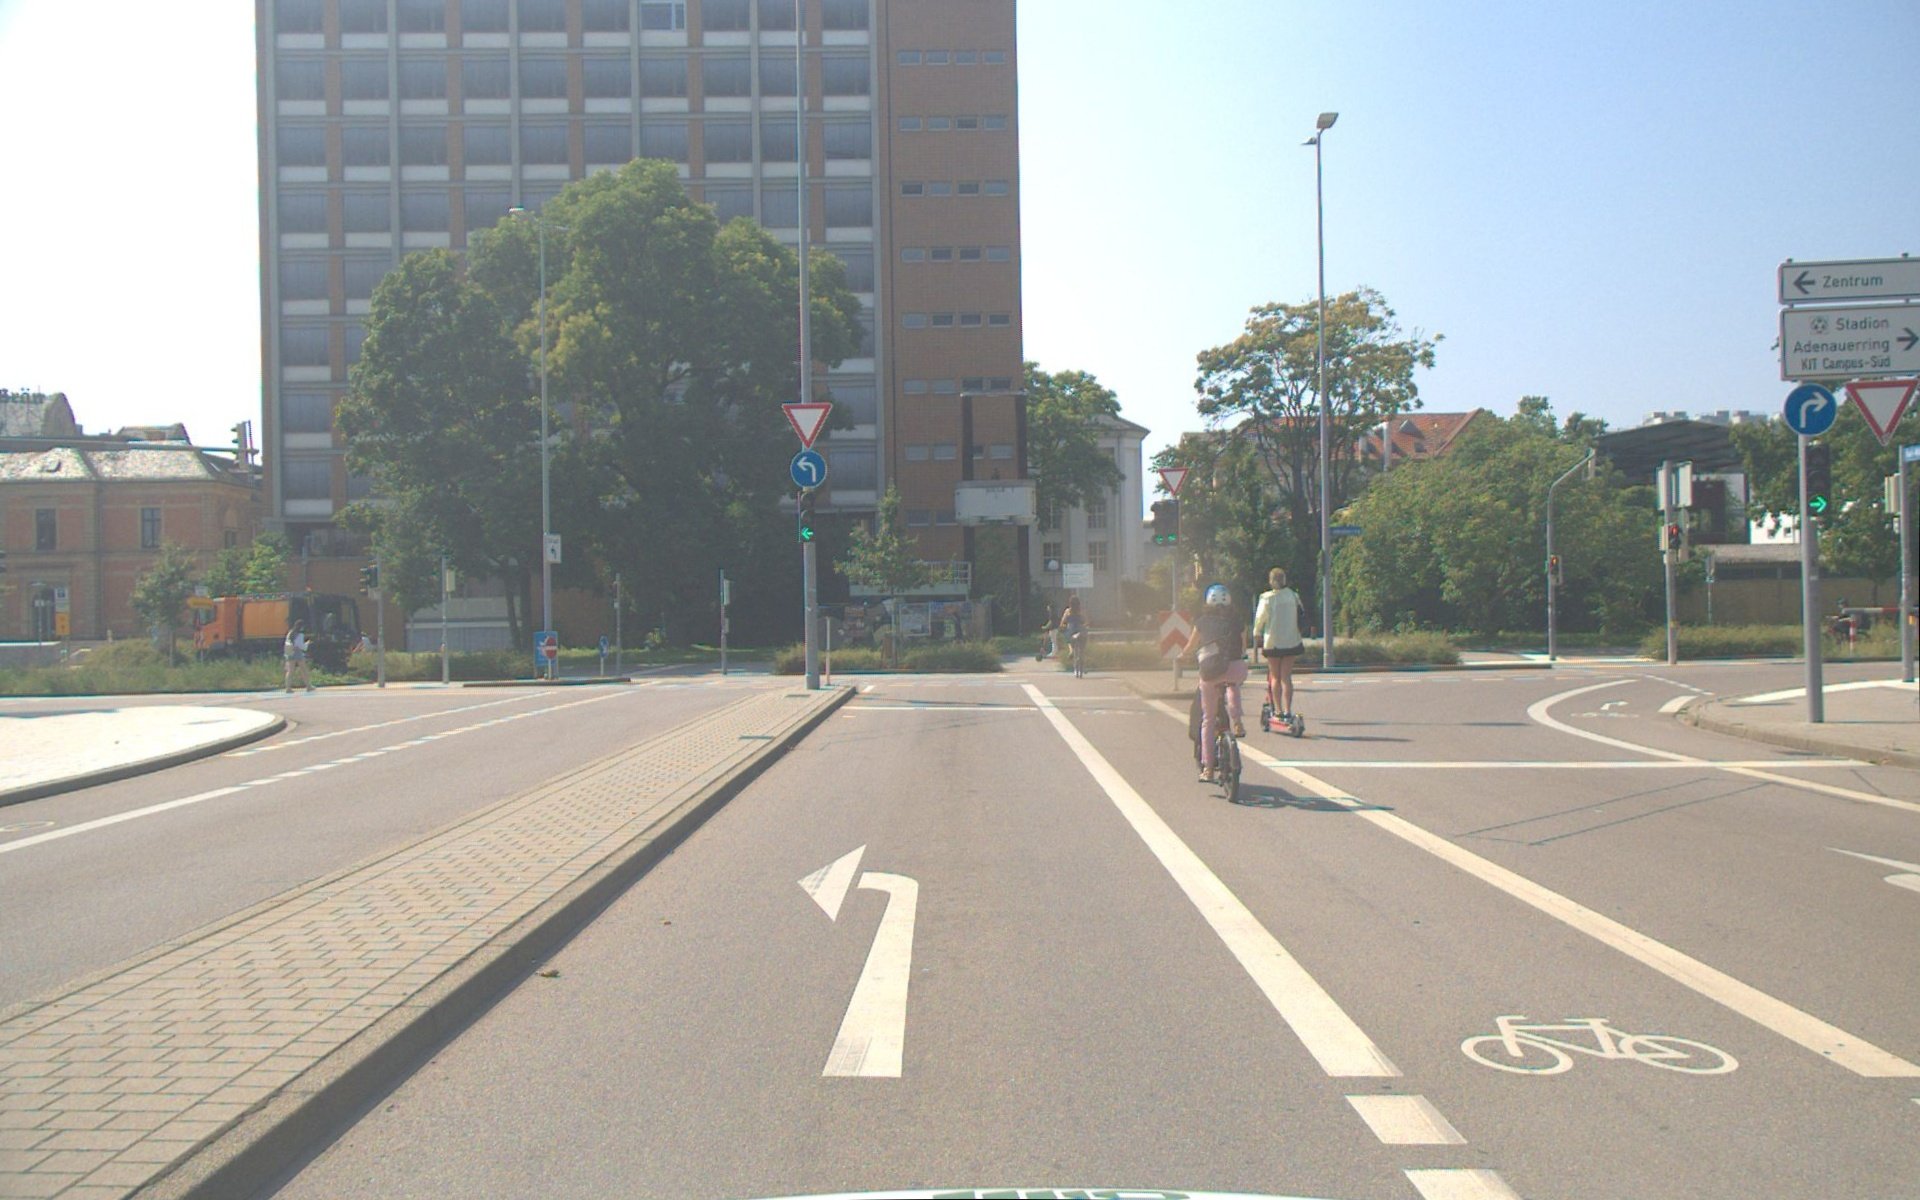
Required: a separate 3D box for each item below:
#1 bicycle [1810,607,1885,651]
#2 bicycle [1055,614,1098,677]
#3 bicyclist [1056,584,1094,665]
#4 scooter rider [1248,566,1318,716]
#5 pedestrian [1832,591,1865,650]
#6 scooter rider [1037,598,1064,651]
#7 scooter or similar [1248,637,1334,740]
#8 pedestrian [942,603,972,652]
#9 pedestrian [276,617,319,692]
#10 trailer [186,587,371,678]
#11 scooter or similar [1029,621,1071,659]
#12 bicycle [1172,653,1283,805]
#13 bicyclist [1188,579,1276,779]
[{"bbox_3d":[26.033,0.837,48.549,1.746,1.234,0.787,-2,-1,4],"label":"bicycle"},{"bbox_3d":[2.415,0.931,34.467,0.679,1.175,2.371,-2,1,0],"label":"bicycle"},{"bbox_3d":[2.401,0.496,34.521,0.676,1.626,0.844,-2,1,-1],"label":"bicyclist"},{"bbox_3d":[3.816,0.479,19.564,0.657,1.729,0.539,-2,0,-1],"label":"scooter rider"},{"bbox_3d":[26.080,0.594,48.542,0.535,1.698,0.781,-2,-1,4],"label":"pedestrian"},{"bbox_3d":[3.131,0.846,57.410,0.785,1.770,0.689,-2,-1,11],"label":"scooter rider"},{"bbox_3d":[3.833,1.000,19.290,0.545,1.078,2.003,-2,0,-1],"label":"scooter or similar"},{"bbox_3d":[-0.103,1.016,60.823,0.858,1.734,0.708,-2,1,16],"label":"pedestrian"},{"bbox_3d":[-15.627,1.282,39.039,0.593,1.724,0.700,-2,-1,17],"label":"pedestrian"},{"bbox_3d":[-24.142,1.211,58.598,6.177,3.061,2.470,-2,-3,23],"label":"trailer"},{"bbox_3d":[3.135,1.387,57.463,1.334,1.256,0.586,-2,0,11],"label":"scooter or similar"},{"bbox_3d":[2.133,0.998,13.385,0.545,1.078,2.003,0,0,-1],"label":"bicycle"},{"bbox_3d":[2.133,0.603,13.031,0.537,1.522,0.803,0,0,-1],"label":"bicyclist"}]
